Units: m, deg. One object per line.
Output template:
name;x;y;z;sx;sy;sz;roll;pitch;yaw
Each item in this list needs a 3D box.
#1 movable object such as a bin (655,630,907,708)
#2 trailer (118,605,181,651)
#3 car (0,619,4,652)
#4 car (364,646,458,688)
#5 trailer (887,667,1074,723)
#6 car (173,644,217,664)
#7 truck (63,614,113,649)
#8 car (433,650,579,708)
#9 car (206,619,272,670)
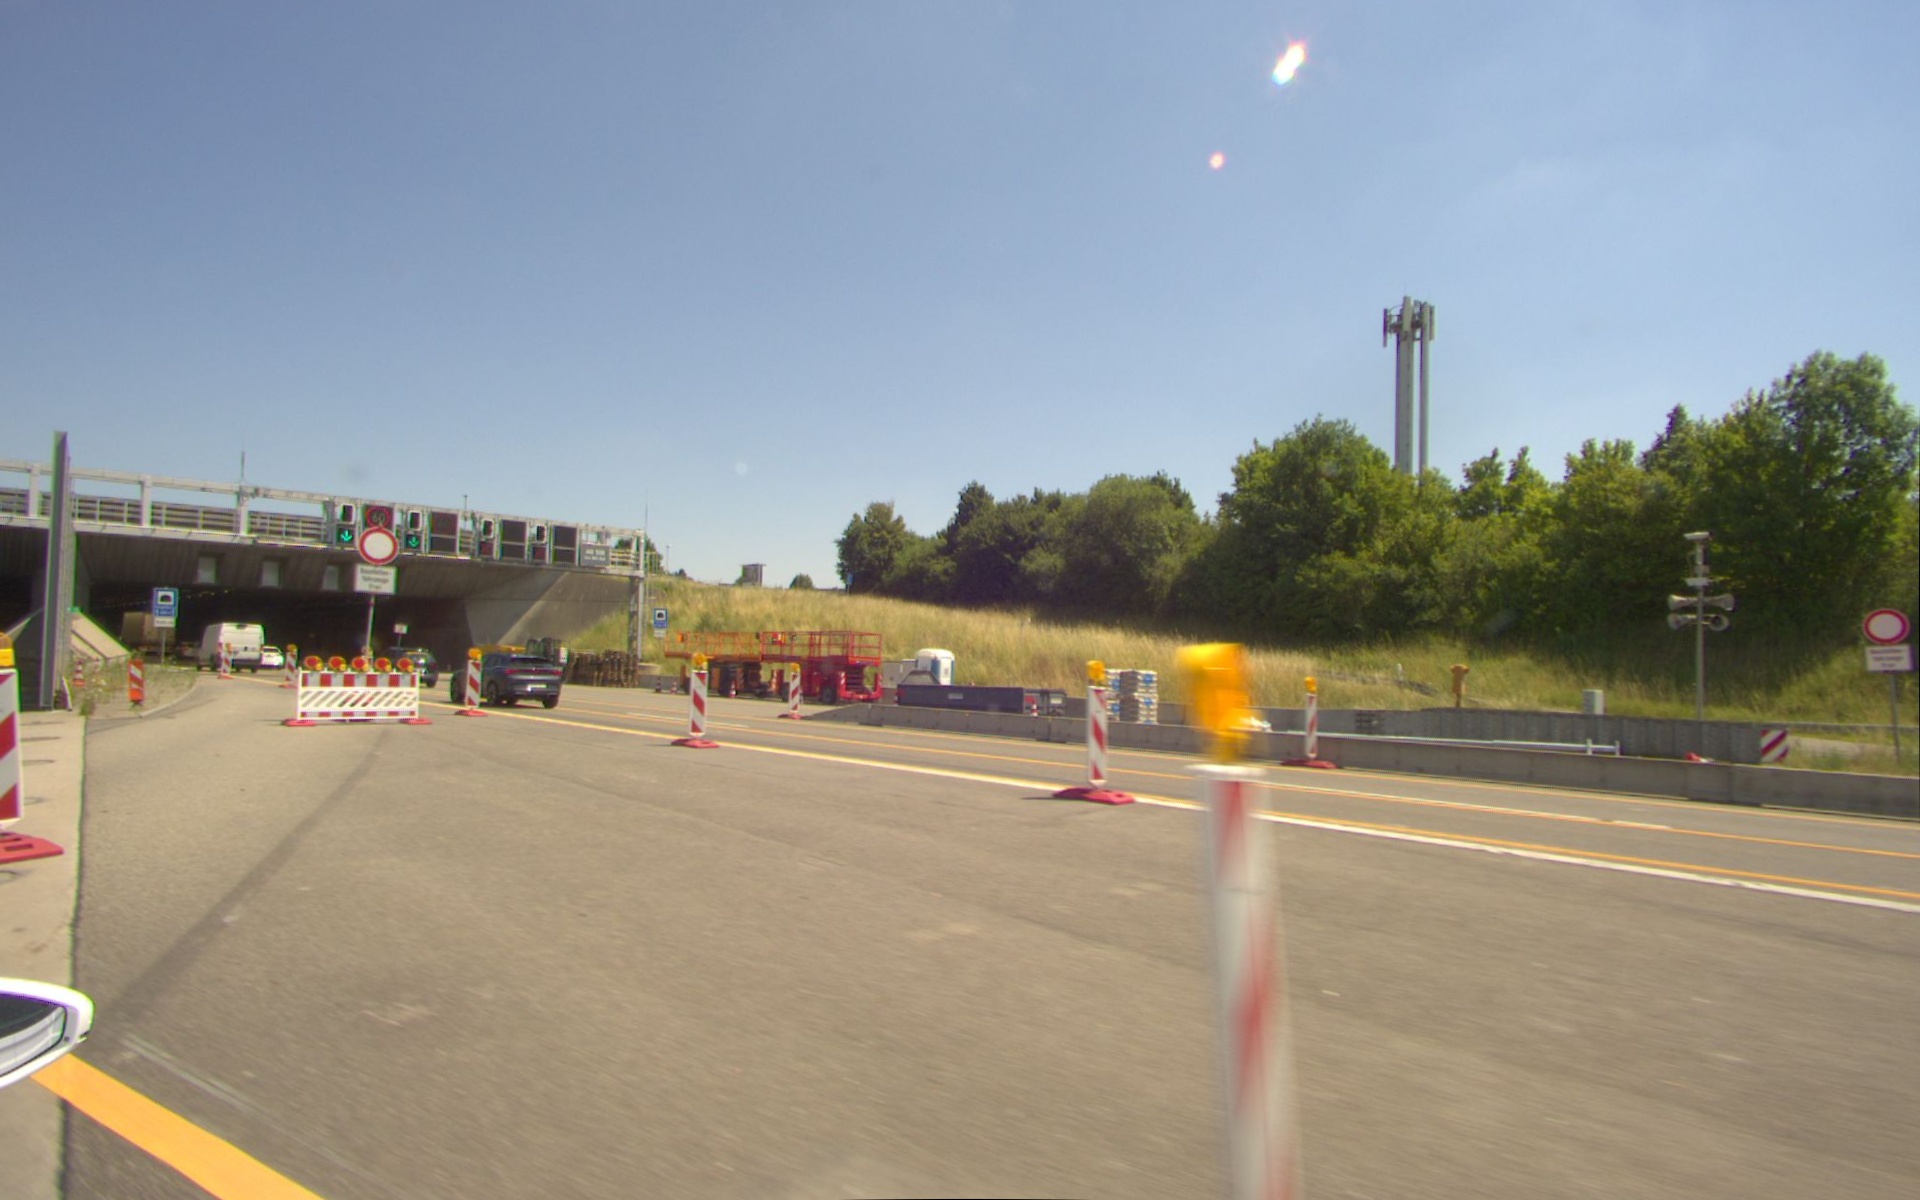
movable object such as a bin;-8.561;2.982;45.271;14.543;3.048;3.096;-2;-4;43
trailer;-81.284;2.939;100.262;13.947;4.109;2.721;-3;-6;43
car;-87.448;3.181;89.311;2.795;2.807;7.040;2;-4;-42
car;-24.029;2.913;43.759;5.181;1.682;2.010;-3;-6;43
trailer;0.619;3.165;34.320;6.160;1.588;2.586;-2;-3;39
car;-61.436;4.316;80.358;4.599;1.481;1.809;-2;-6;40
truck;-126.236;4.652;144.854;16.363;4.384;3.387;-4;-7;43
car;-13.182;2.268;28.972;4.622;1.503;1.987;-2;-6;40
car;-40.139;2.510;55.639;2.251;2.566;6.529;5;-6;-41
